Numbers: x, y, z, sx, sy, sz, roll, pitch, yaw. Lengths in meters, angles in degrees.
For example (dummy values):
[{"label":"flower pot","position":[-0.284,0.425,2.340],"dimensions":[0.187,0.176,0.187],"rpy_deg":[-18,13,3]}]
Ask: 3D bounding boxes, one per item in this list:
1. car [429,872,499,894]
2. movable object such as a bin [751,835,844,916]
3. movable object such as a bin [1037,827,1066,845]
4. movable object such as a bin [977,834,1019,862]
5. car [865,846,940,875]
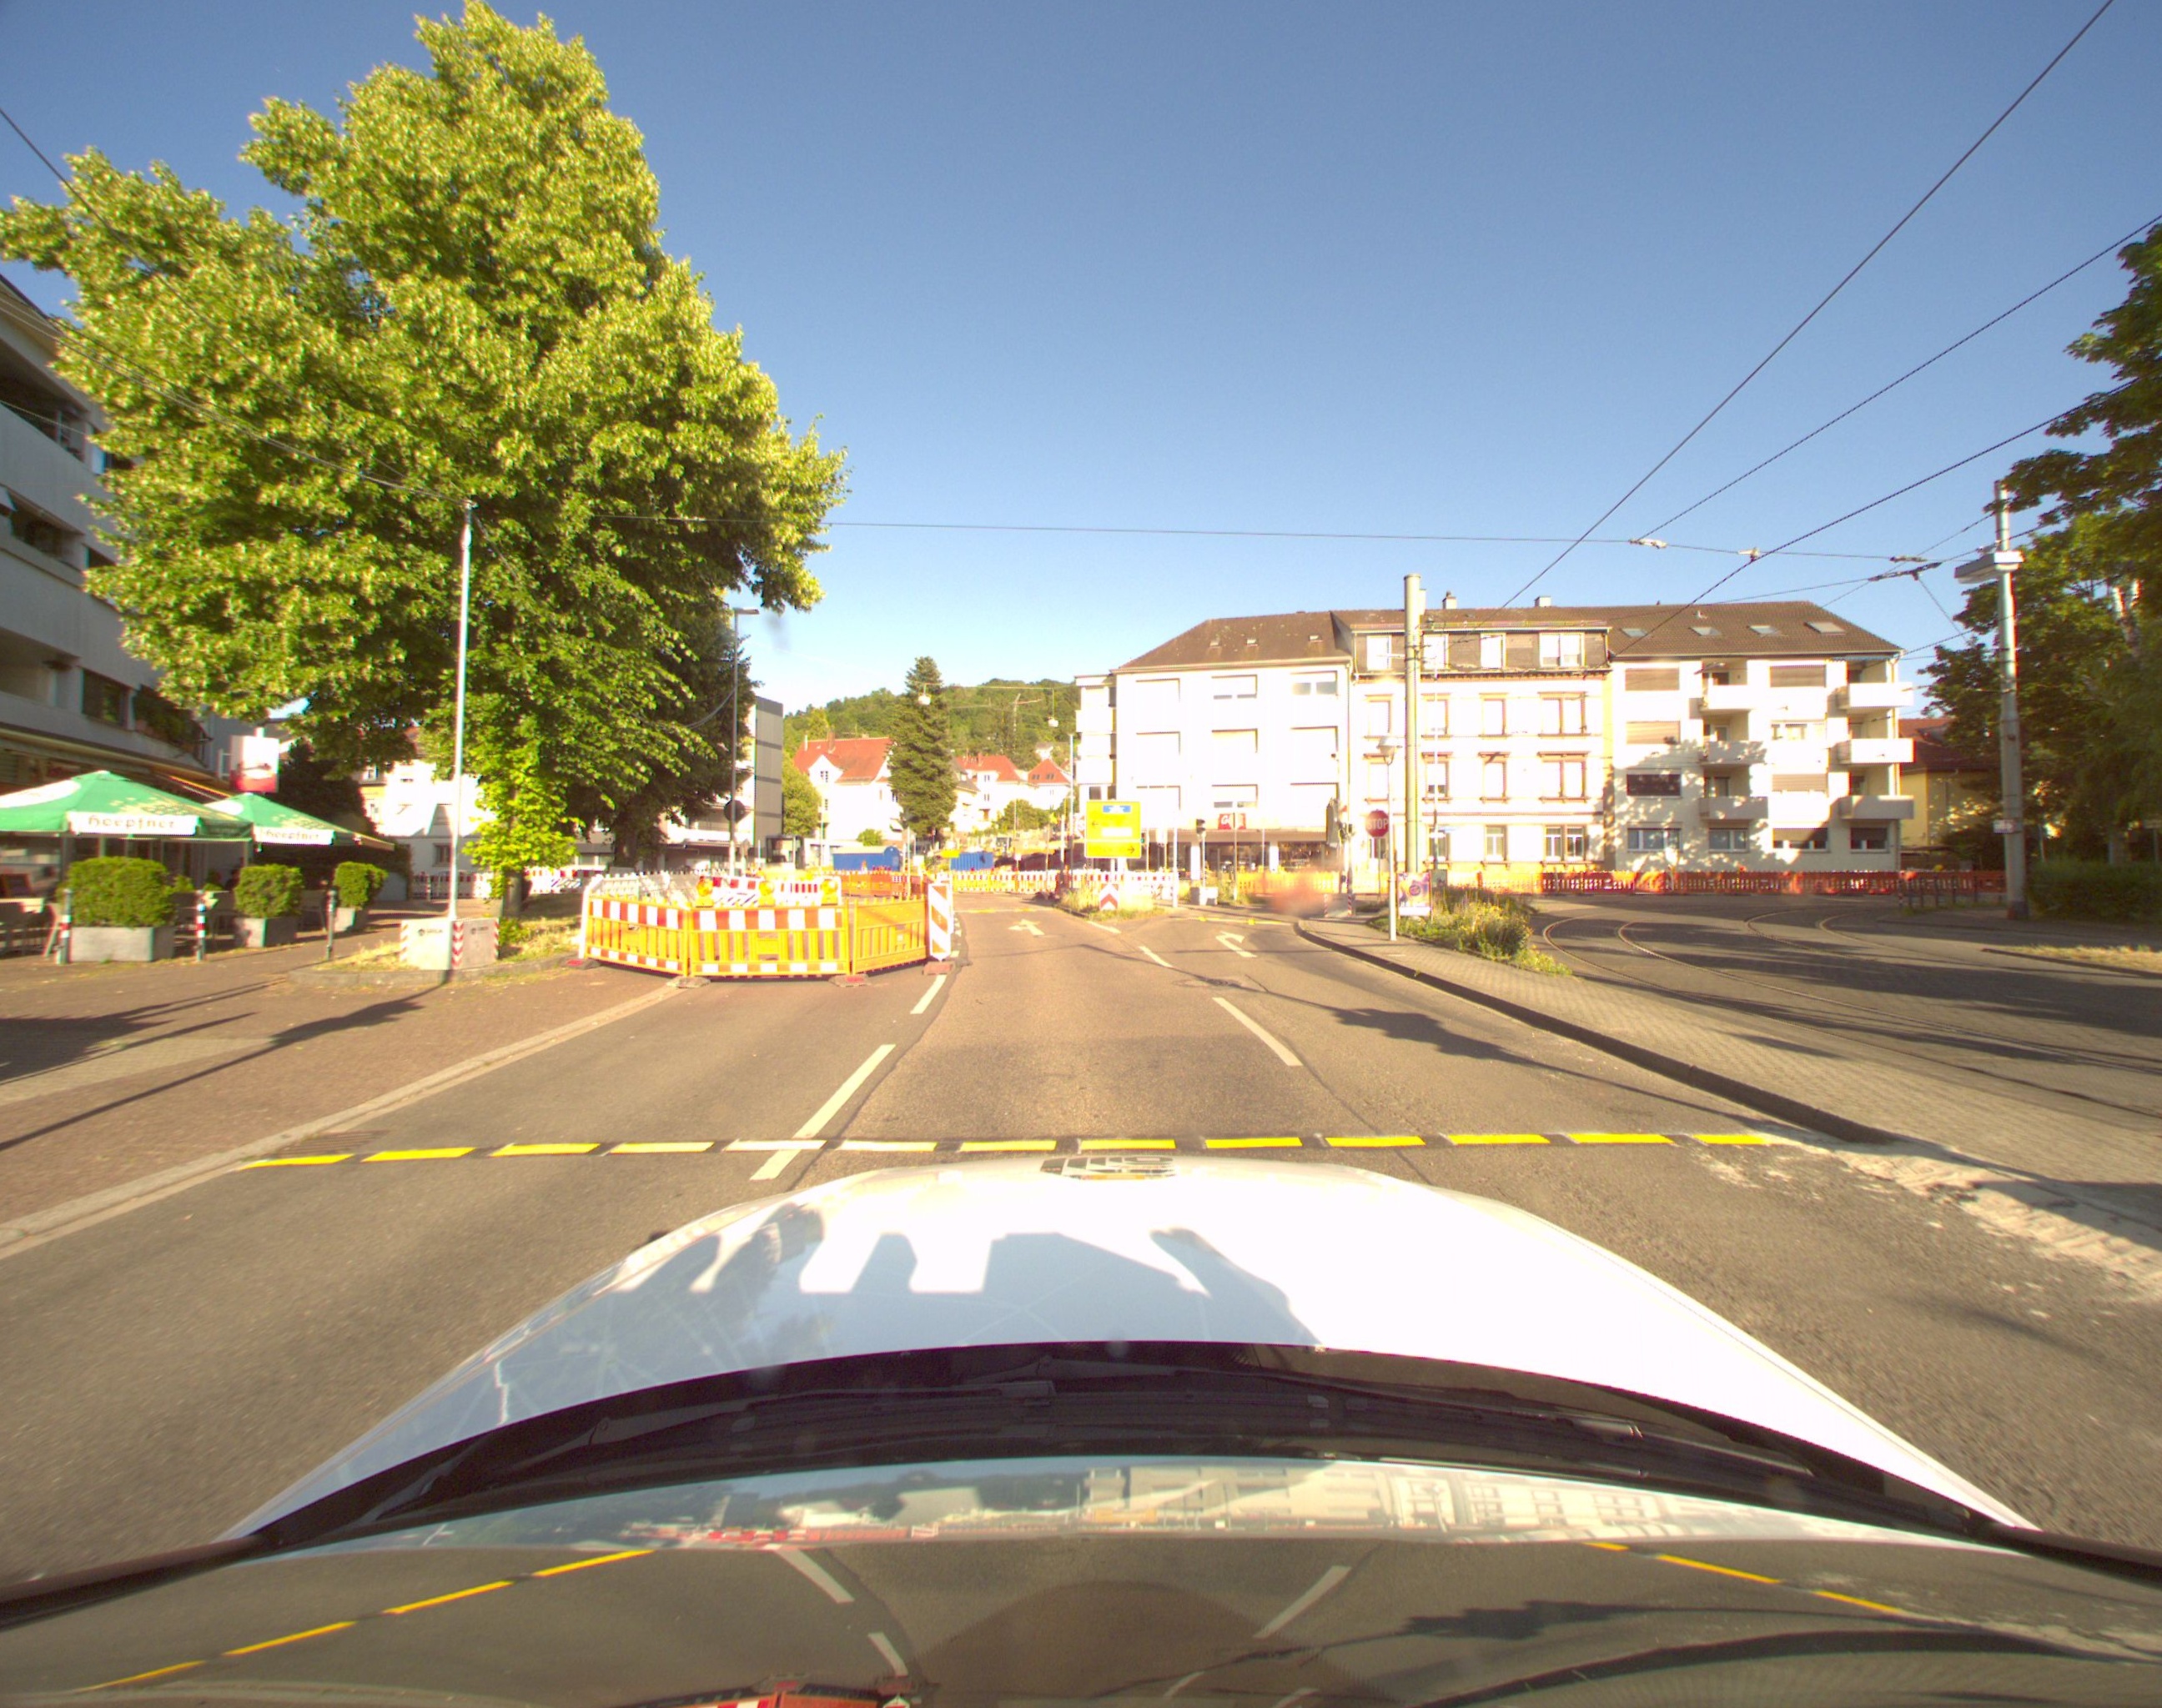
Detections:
[{"label":"car","position":[-41.777,1.937,55.199],"dimensions":[1.494,1.411,3.433],"rpy_deg":[0,-1,23]},{"label":"movable object such as a bin","position":[-8.798,0.629,25.590],"dimensions":[1.642,2.325,3.917],"rpy_deg":[-1,-1,-2]},{"label":"movable object such as a bin","position":[-4.020,-2.403,110.985],"dimensions":[2.548,2.122,5.803],"rpy_deg":[-1,-1,12]},{"label":"movable object such as a bin","position":[-7.603,-0.509,75.122],"dimensions":[1.931,2.494,4.575],"rpy_deg":[-1,-1,21]},{"label":"car","position":[-13.605,0.519,62.562],"dimensions":[2.561,2.121,6.182],"rpy_deg":[-1,-1,21]}]
